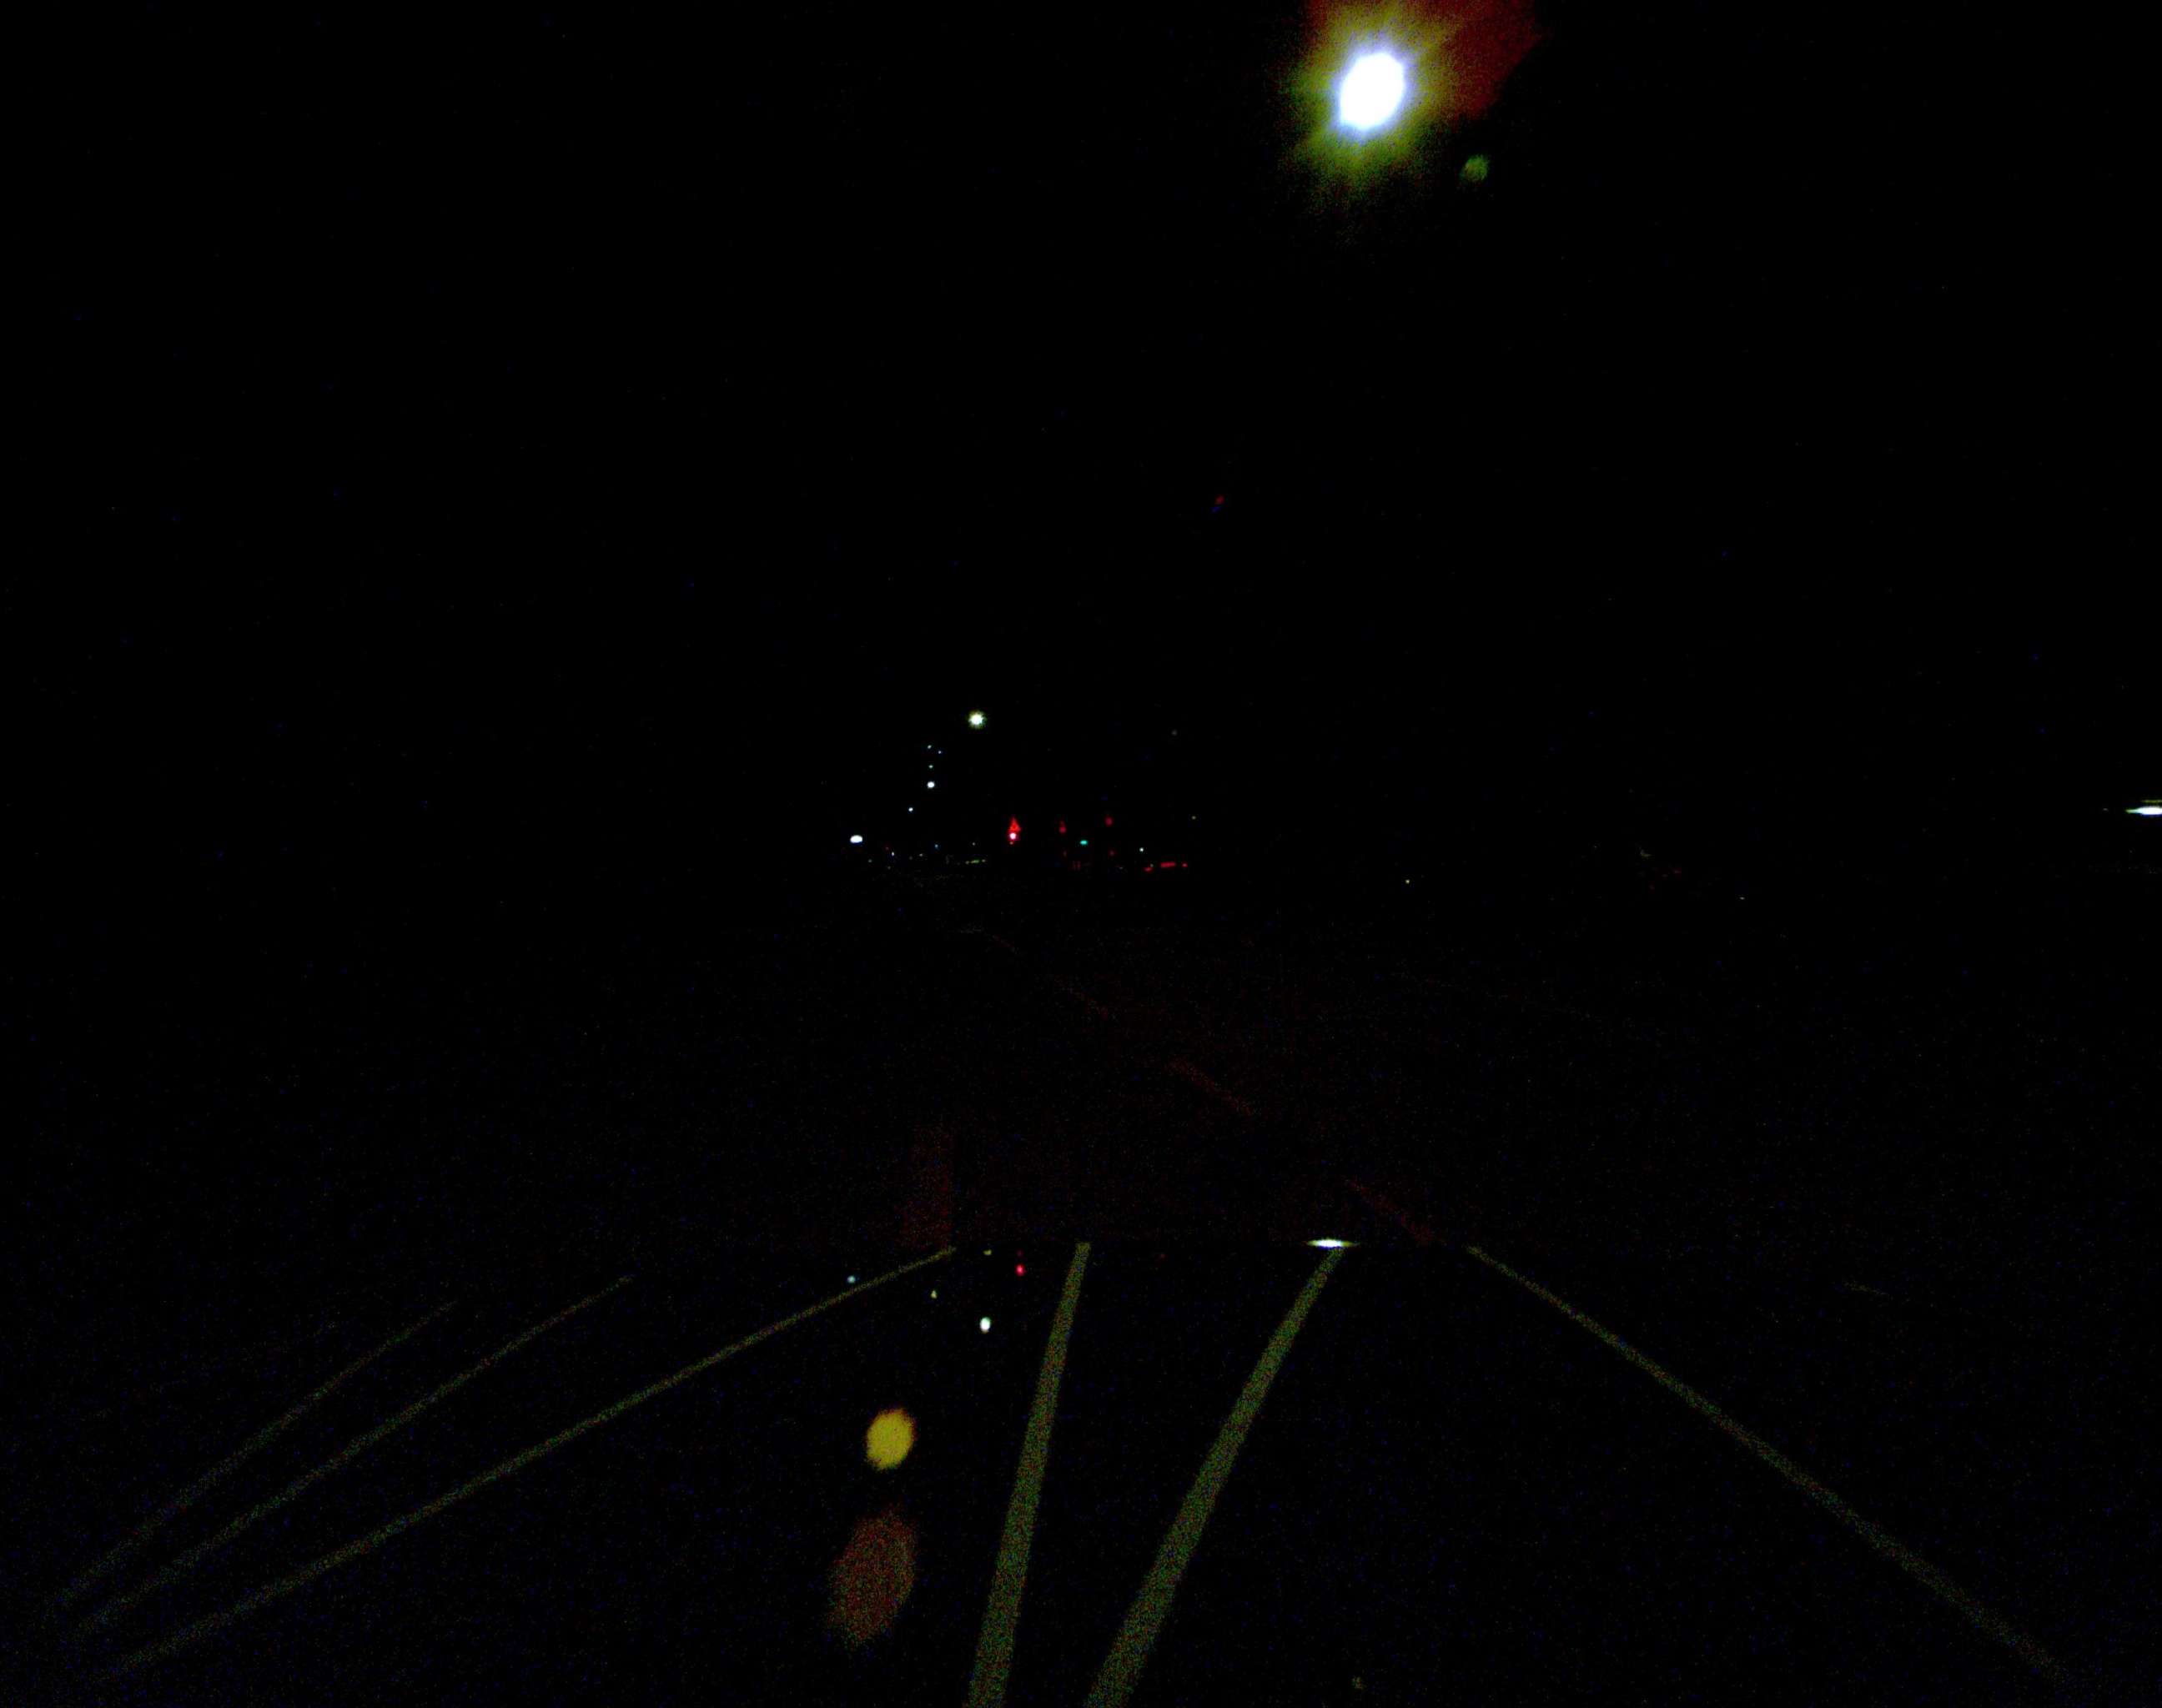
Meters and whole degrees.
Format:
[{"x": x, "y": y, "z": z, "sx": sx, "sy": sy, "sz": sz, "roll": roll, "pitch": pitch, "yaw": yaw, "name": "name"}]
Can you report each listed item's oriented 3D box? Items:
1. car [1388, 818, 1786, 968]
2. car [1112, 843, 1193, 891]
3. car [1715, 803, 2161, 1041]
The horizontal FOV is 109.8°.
[{"x": 6.314, "y": 0.412, "z": 10.213, "sx": 1.644, "sy": 1.425, "sz": 4.344, "roll": -6, "pitch": 1, "yaw": -16, "name": "car"}, {"x": 2.386, "y": 0.424, "z": 26.226, "sx": 1.634, "sy": 1.455, "sz": 3.510, "roll": -3, "pitch": 1, "yaw": -14, "name": "car"}, {"x": 7.492, "y": 0.409, "z": 5.459, "sx": 1.557, "sy": 1.425, "sz": 4.342, "roll": -6, "pitch": 1, "yaw": -15, "name": "car"}]
